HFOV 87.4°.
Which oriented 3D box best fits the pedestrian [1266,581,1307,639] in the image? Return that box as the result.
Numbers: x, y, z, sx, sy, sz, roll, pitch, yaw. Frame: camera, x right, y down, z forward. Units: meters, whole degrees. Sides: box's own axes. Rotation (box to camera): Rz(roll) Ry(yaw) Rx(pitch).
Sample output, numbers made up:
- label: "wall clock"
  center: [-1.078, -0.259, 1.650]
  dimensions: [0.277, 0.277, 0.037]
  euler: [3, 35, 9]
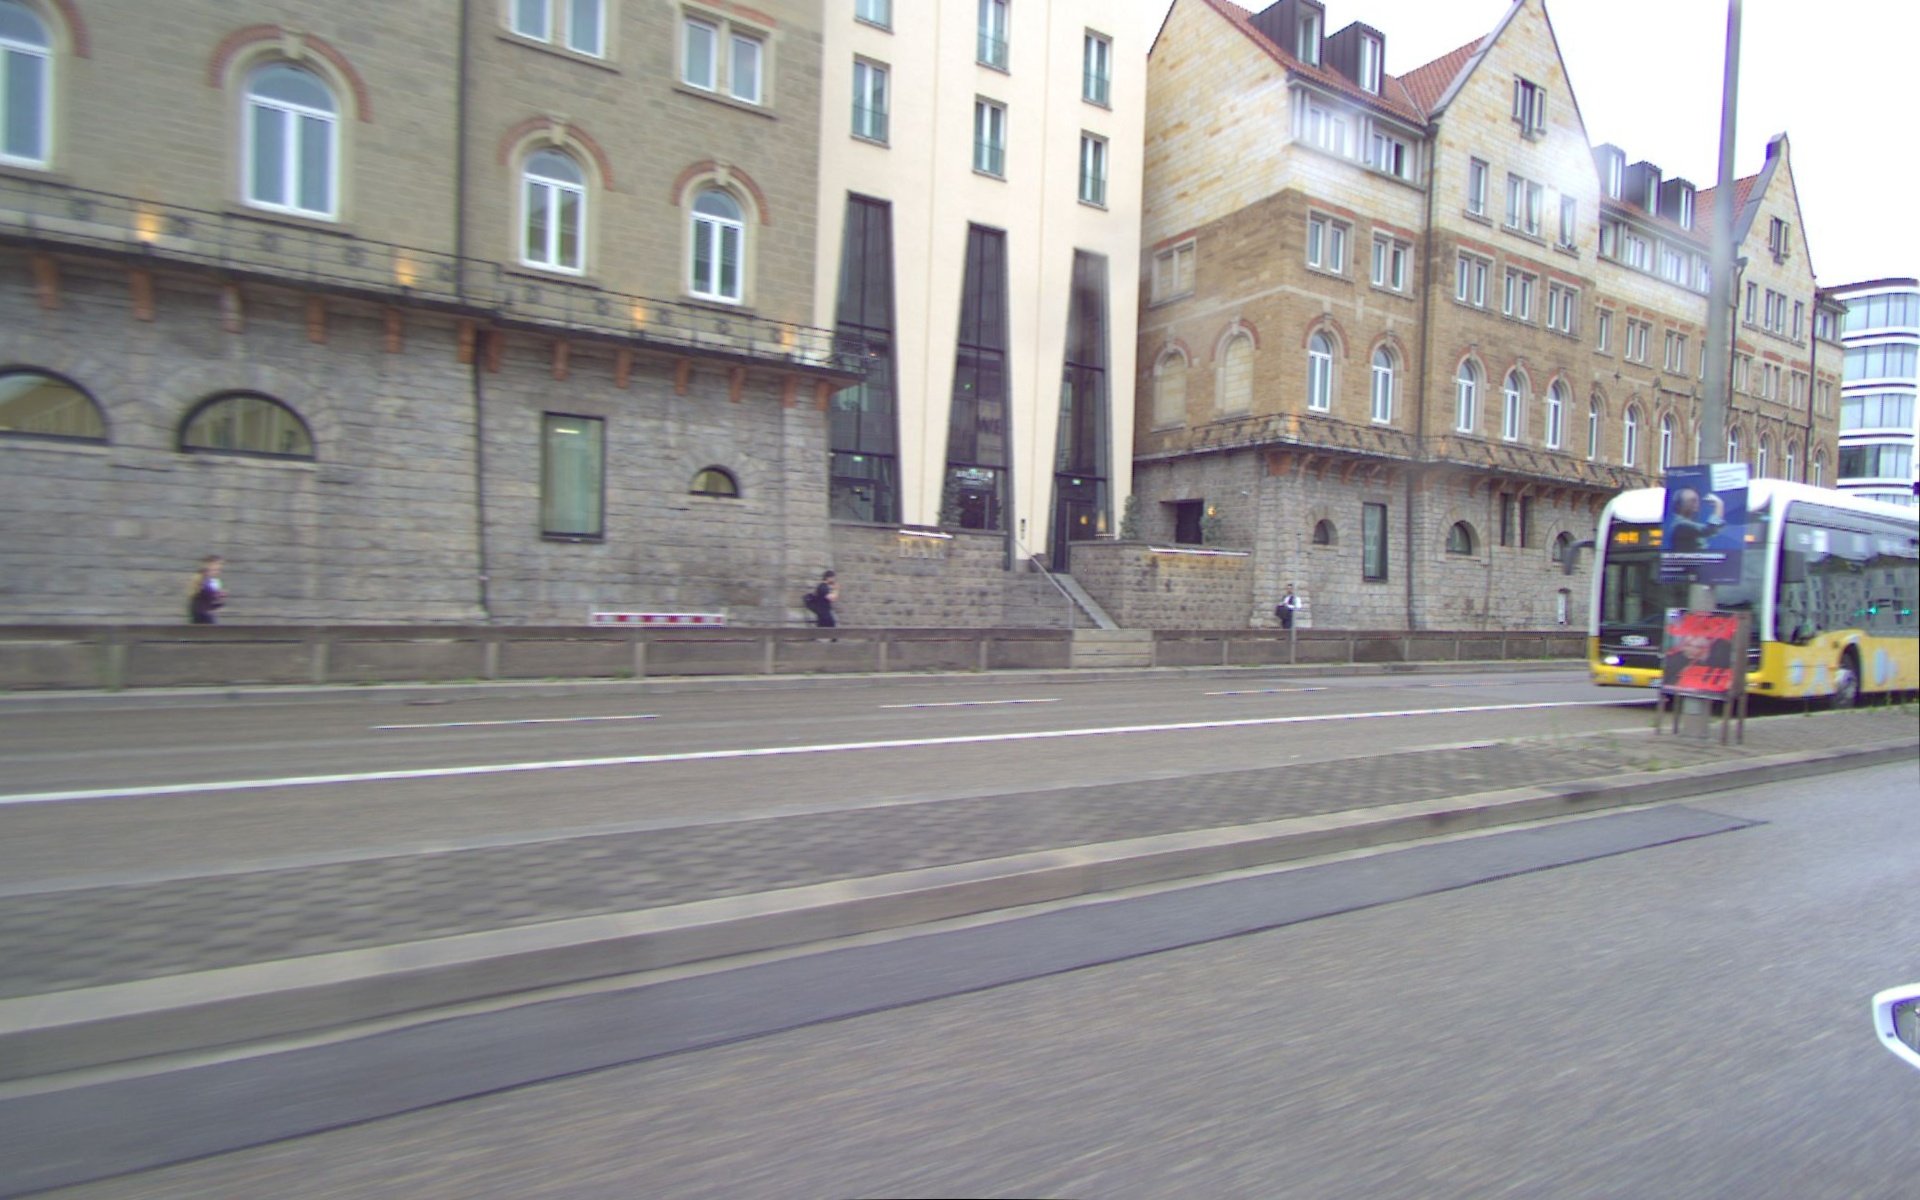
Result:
- label: "pedestrian"
  center: [8.618, 0.252, 26.526]
  dimensions: [0.706, 1.497, 0.750]
  euler: [-1, 1, -31]

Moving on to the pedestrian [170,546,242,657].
- label: "pedestrian"
  center: [-10.514, 0.014, 14.029]
  dimensions: [0.706, 1.497, 0.750]
  euler: [-1, 1, -31]

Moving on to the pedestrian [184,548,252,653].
- label: "pedestrian"
  center: [-10.860, 0.004, 14.731]
  dimensions: [0.706, 1.497, 0.750]
  euler: [-1, 1, -31]

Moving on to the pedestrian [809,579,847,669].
- label: "pedestrian"
  center: [-2.653, 0.473, 20.130]
  dimensions: [0.612, 1.769, 0.639]
  euler: [-1, 1, -22]

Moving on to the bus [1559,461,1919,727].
- label: "bus"
  center: [14.470, -0.002, 17.391]
  dimensions: [9.978, 3.606, 2.684]
  euler: [1, 0, -31]

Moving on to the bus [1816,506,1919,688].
- label: "bus"
  center: [23.120, -0.017, 22.771]
  dimensions: [9.978, 3.607, 2.684]
  euler: [0, 0, -31]
